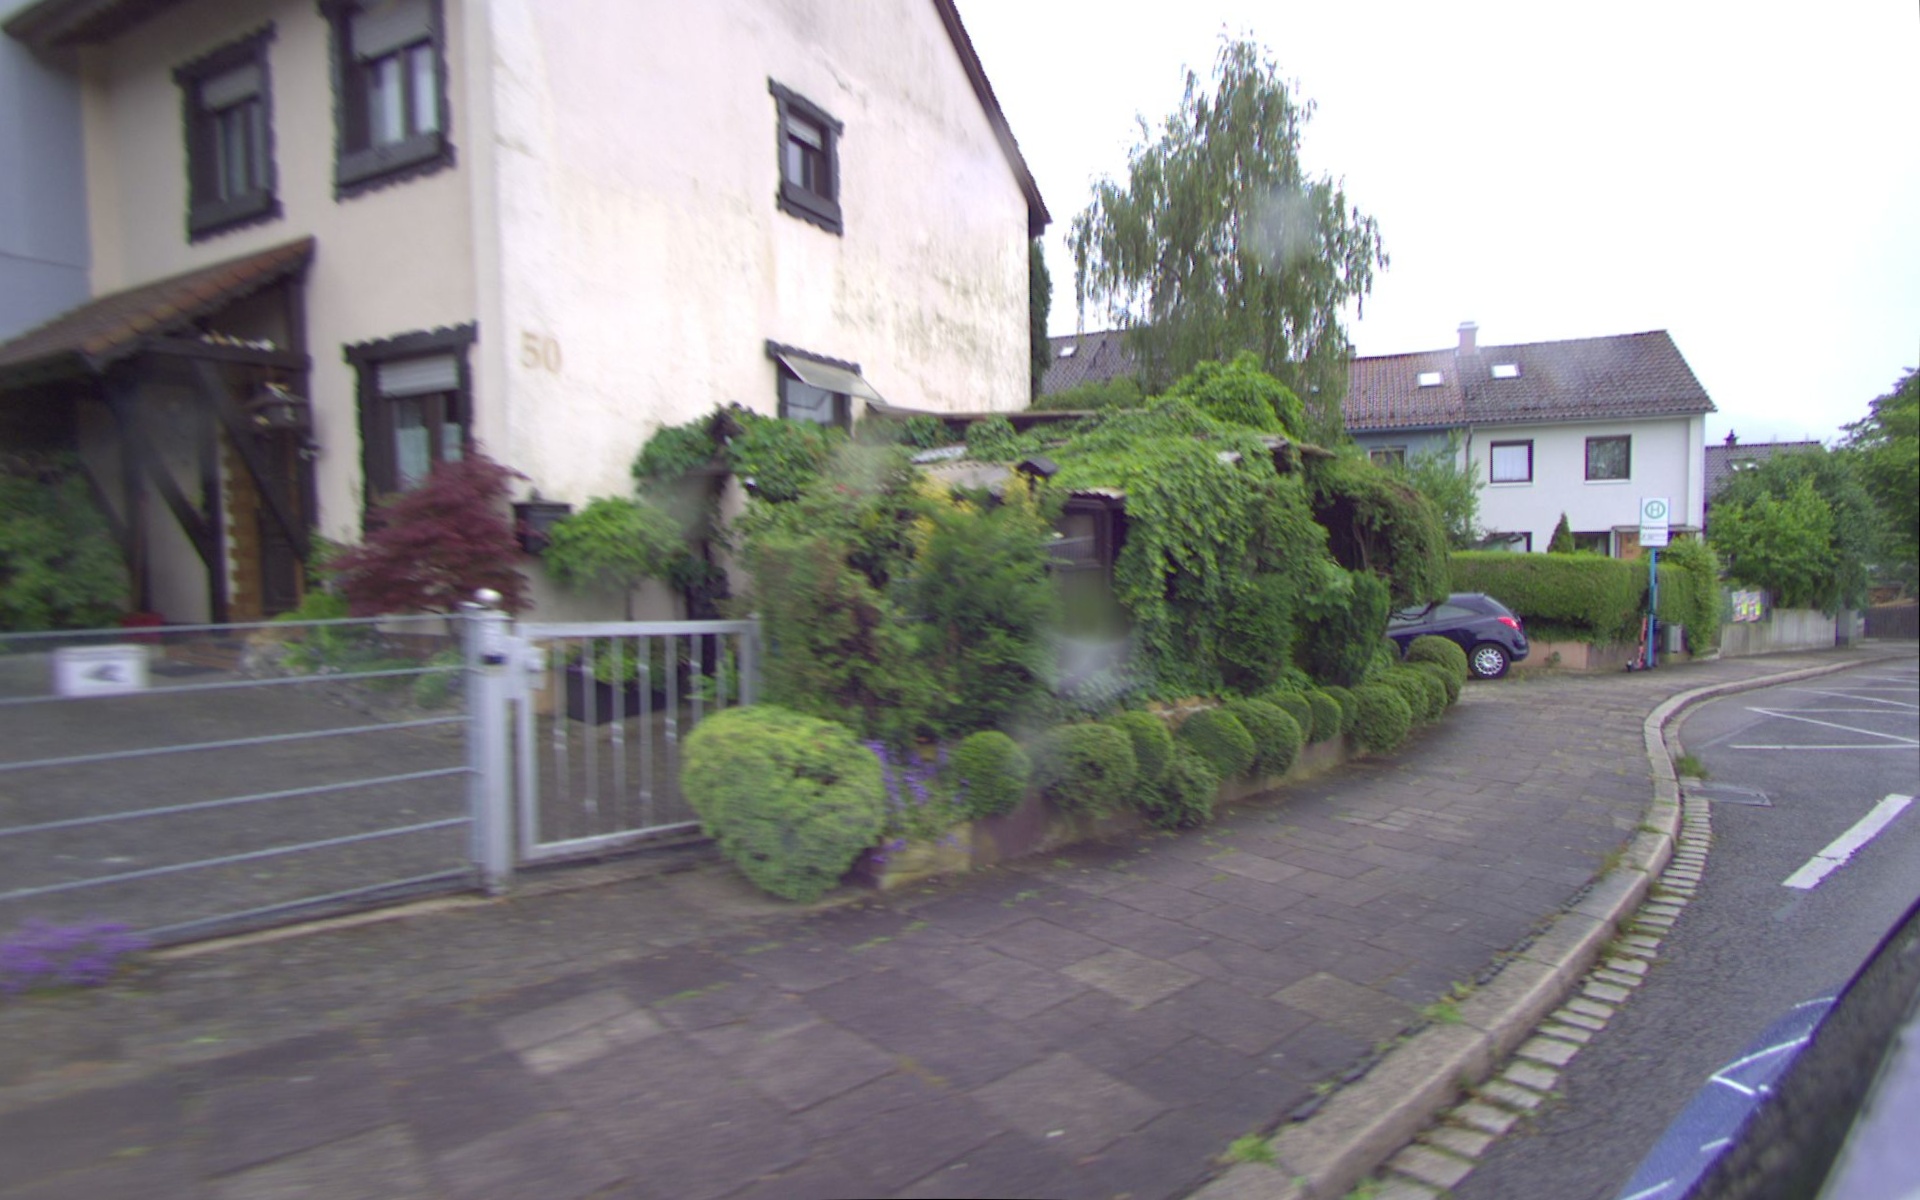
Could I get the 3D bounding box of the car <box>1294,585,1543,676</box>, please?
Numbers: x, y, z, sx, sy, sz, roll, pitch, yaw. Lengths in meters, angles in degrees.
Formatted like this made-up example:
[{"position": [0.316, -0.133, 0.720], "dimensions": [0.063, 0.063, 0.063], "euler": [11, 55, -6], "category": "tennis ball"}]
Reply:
[{"position": [7.781, 0.454, 17.363], "dimensions": [3.672, 1.314, 1.756], "euler": [2, 1, 27], "category": "car"}]
